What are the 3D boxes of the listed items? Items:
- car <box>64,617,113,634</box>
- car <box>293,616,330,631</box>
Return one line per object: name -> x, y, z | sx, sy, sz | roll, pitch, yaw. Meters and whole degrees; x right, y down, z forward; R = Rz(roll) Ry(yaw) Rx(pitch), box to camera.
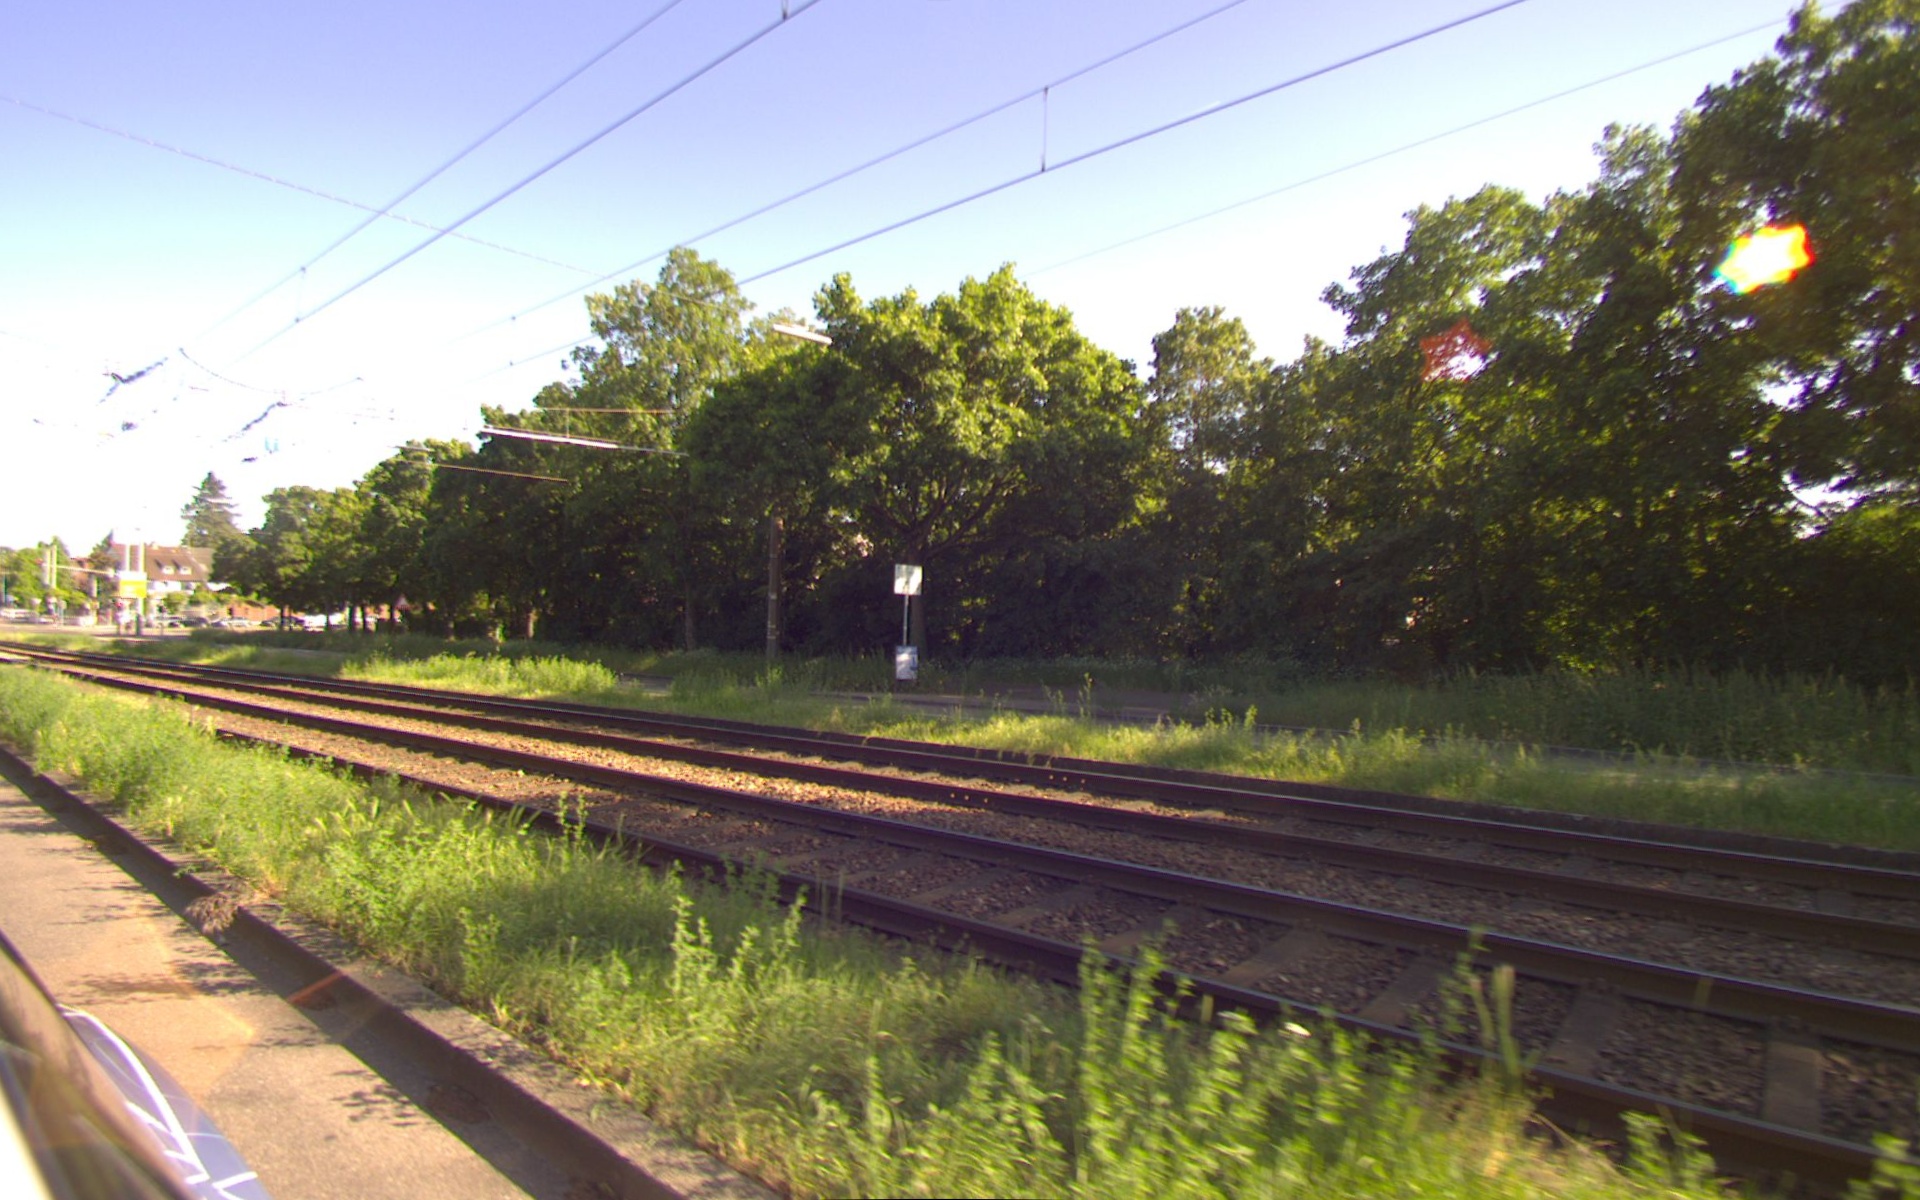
car -> -104.013, 3.031, 120.829 | 1.958, 1.962, 3.972 | -1, 0, 21
car -> -89.910, 3.280, 140.312 | 1.958, 1.962, 3.972 | -1, 0, 21
